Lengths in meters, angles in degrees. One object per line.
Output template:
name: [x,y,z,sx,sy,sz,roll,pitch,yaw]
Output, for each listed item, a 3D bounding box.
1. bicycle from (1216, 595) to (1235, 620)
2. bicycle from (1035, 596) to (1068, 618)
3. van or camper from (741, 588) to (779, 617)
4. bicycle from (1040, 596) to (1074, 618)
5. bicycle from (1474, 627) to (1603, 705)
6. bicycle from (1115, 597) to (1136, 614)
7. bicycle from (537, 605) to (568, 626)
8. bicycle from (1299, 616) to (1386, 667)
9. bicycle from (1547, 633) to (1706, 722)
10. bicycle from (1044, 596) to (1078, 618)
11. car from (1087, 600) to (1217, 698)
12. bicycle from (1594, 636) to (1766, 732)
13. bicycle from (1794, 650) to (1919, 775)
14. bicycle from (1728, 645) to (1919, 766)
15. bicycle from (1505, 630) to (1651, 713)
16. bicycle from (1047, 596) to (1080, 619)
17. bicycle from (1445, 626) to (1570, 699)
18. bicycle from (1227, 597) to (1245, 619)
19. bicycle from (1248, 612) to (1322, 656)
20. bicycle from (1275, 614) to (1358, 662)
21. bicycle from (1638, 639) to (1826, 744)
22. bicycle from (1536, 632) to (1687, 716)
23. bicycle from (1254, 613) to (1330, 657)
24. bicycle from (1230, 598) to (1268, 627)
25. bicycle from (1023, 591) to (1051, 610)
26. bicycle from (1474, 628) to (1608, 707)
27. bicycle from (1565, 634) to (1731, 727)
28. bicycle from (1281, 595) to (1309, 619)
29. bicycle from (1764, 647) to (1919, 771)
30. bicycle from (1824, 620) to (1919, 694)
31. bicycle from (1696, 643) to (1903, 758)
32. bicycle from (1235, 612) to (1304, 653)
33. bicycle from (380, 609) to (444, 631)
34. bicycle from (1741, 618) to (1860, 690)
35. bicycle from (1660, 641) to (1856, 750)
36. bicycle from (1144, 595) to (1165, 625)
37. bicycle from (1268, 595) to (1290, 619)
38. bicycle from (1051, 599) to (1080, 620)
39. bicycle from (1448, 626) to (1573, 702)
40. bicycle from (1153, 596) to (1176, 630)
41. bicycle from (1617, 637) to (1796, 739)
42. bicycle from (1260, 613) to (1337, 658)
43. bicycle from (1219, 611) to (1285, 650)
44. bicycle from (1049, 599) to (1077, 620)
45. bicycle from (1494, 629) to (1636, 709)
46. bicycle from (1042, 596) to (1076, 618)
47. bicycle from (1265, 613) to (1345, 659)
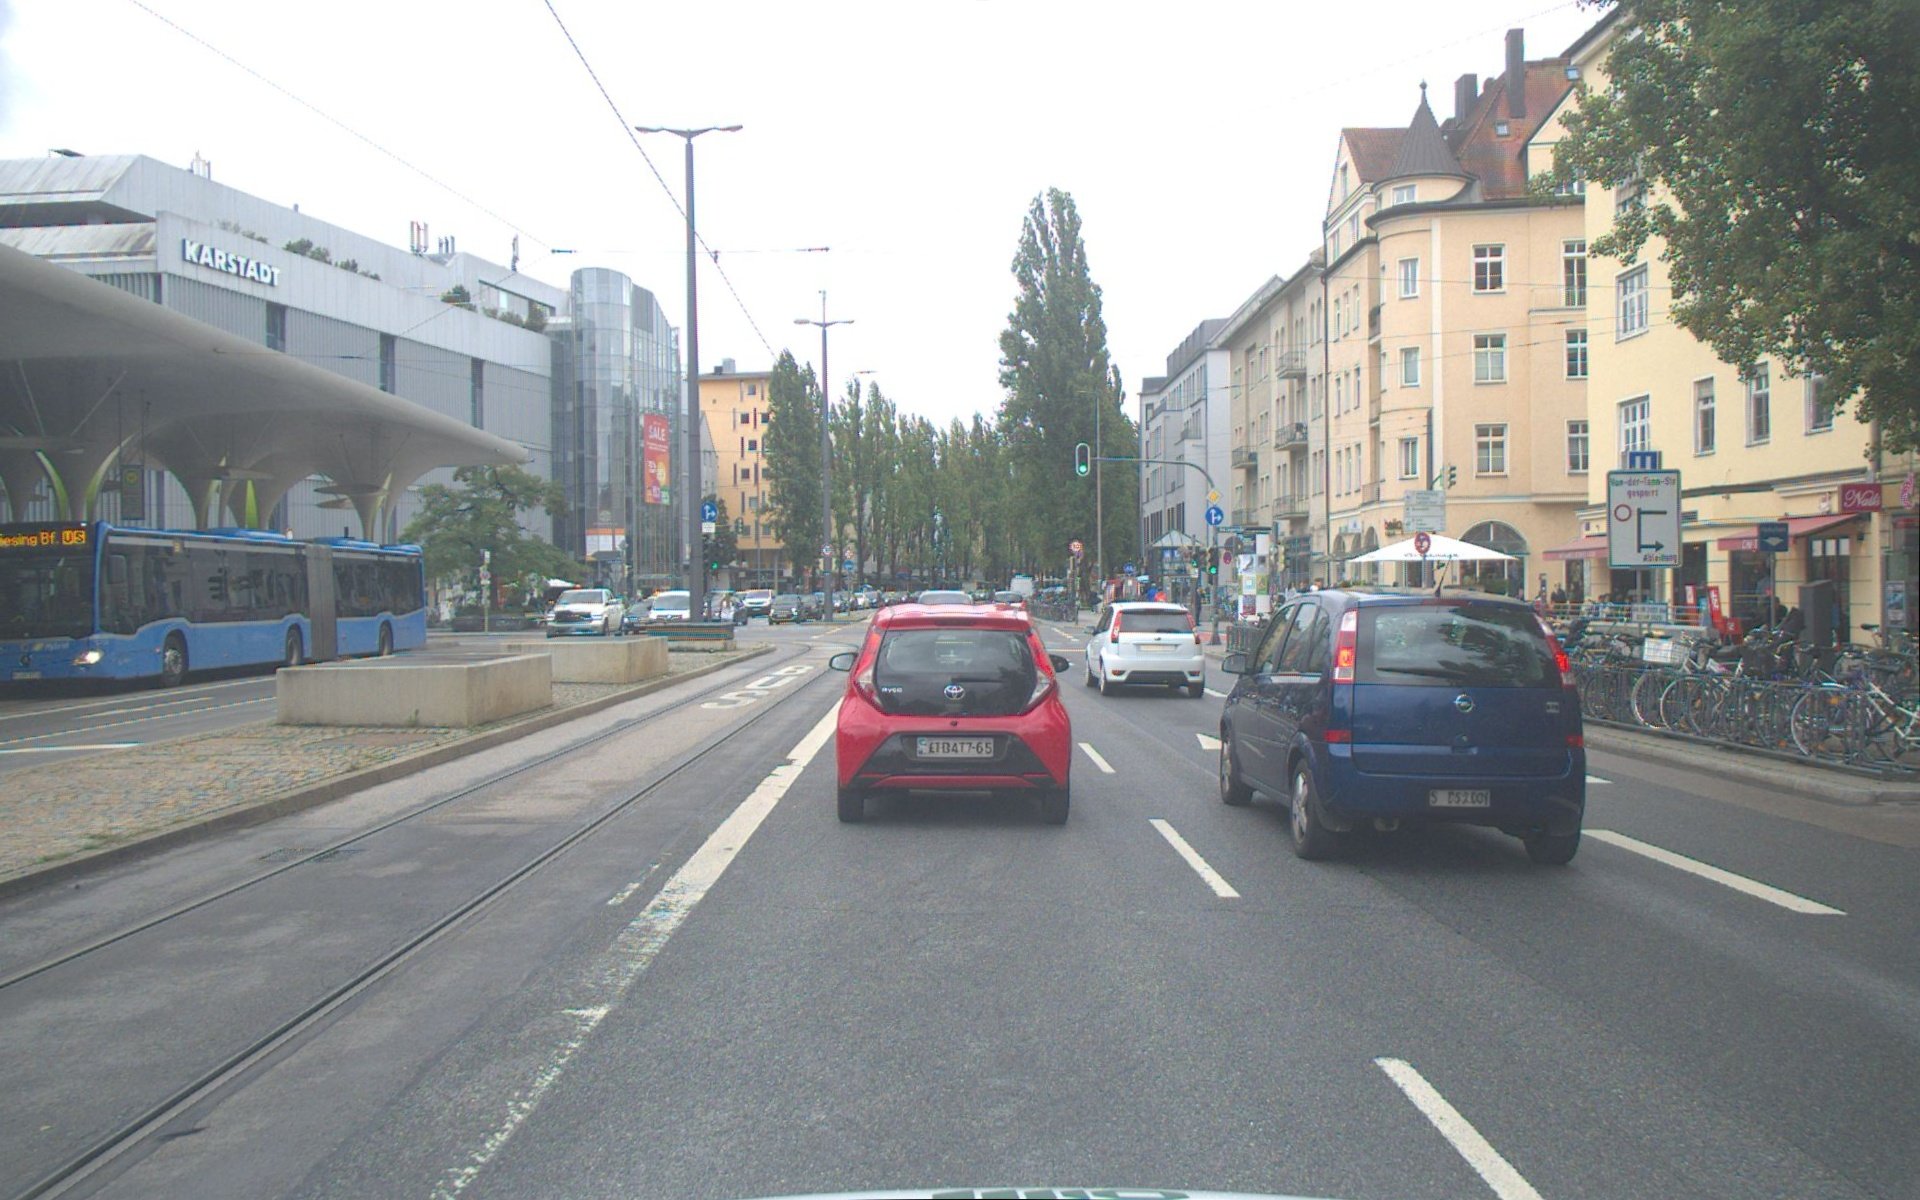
bicycle: [12.152,0.348,75.812,0.555,1.127,1.866,-1,0,0]
bicycle: [5.042,0.374,91.092,1.768,1.178,0.650,-1,0,36]
van or camper: [-13.659,0.152,113.327,1.888,1.857,5.441,-1,0,0]
bicycle: [5.219,0.381,89.062,1.765,1.178,0.486,-1,0,29]
bicycle: [8.314,0.931,23.819,0.322,1.013,1.813,-1,2,-43]
bicycle: [9.684,0.316,96.810,1.156,0.980,0.369,-1,0,4]
bicycle: [-21.629,0.827,87.704,1.541,1.131,0.373,0,0,3]
bicycle: [7.865,0.854,34.079,1.810,1.013,0.346,-2,0,44]
bicycle: [8.310,0.951,20.667,1.806,1.013,0.374,1,2,37]
bicycle: [5.287,0.371,86.910,1.770,1.178,0.546,0,0,38]
car: [3.070,0.750,27.050,1.665,1.451,3.496,1,0,-1]
bicycle: [8.376,0.961,19.284,1.806,1.013,0.374,1,2,37]
bicycle: [8.268,0.988,14.391,0.372,1.013,1.816,-1,2,-39]
bicycle: [8.322,0.981,15.797,0.372,1.013,1.816,-1,2,-39]
bicycle: [8.241,0.940,22.104,1.806,1.013,0.324,1,2,37]
bicycle: [5.354,0.387,85.517,1.773,1.219,0.555,0,0,43]
bicycle: [8.205,0.923,24.848,1.809,1.013,0.323,1,2,42]
bicycle: [12.644,0.360,75.799,0.484,0.992,1.866,-1,0,0]
bicycle: [7.777,0.818,39.612,1.810,1.013,0.346,-2,0,43]
bicycle: [7.796,0.839,36.205,1.807,1.013,0.346,-2,0,40]
bicycle: [8.346,0.969,17.923,1.806,1.013,0.373,1,2,38]
bicycle: [8.424,0.945,21.418,1.799,1.013,0.375,1,1,24]
bicycle: [7.796,0.823,38.896,1.810,1.013,0.346,-2,0,43]
bicycle: [12.464,0.527,71.247,1.536,1.180,0.525,-2,2,2]
bicycle: [4.802,0.007,102.904,1.805,1.156,0.583,0,0,43]
bicycle: [8.194,0.931,23.379,1.809,1.013,0.323,1,2,42]
bicycle: [8.262,0.955,19.919,1.806,1.013,0.374,1,2,37]
bicycle: [15.373,0.308,76.003,0.486,1.077,1.859,-1,0,-15]
bicycle: [8.308,0.985,15.033,0.372,1.013,1.816,-1,2,-39]
bicycle: [13.747,0.843,24.441,1.685,1.064,0.388,0,1,10]
bicycle: [8.339,0.977,16.492,1.811,1.013,0.373,2,2,45]
bicycle: [7.806,0.820,41.757,1.811,1.013,0.345,-2,0,45]
bicycle: [-31.205,1.116,94.184,3.419,1.177,1.061,-1,0,12]
bicycle: [12.840,0.817,25.285,1.689,1.064,0.387,0,1,-7]
bicycle: [8.294,0.972,17.241,1.809,1.013,0.373,1,2,42]
bicycle: [8.506,0.423,72.398,0.601,1.287,2.520,-1,1,0]
bicycle: [14.600,0.299,75.720,0.485,1.077,1.864,-1,0,-5]
bicycle: [5.362,0.489,84.002,0.495,1.046,1.576,-1,1,-42]
bicycle: [8.102,0.923,24.404,0.322,1.013,1.813,-1,2,-43]
bicycle: [8.257,0.513,66.805,0.601,1.287,2.520,-1,1,0]
bicycle: [8.345,0.965,18.546,1.811,1.013,0.373,2,2,44]
bicycle: [7.803,0.827,38.230,1.810,1.013,0.346,-2,0,43]
bicycle: [7.744,0.805,43.912,1.811,1.013,0.345,-2,0,45]
bicycle: [5.281,0.481,84.857,0.495,1.046,1.576,-1,1,-42]
bicycle: [8.296,0.938,22.730,1.803,1.013,0.324,1,2,32]
bicycle: [5.291,0.363,88.402,1.763,1.178,0.486,-1,0,26]
bicycle: [7.815,0.831,37.543,1.807,1.013,0.346,-2,0,40]
